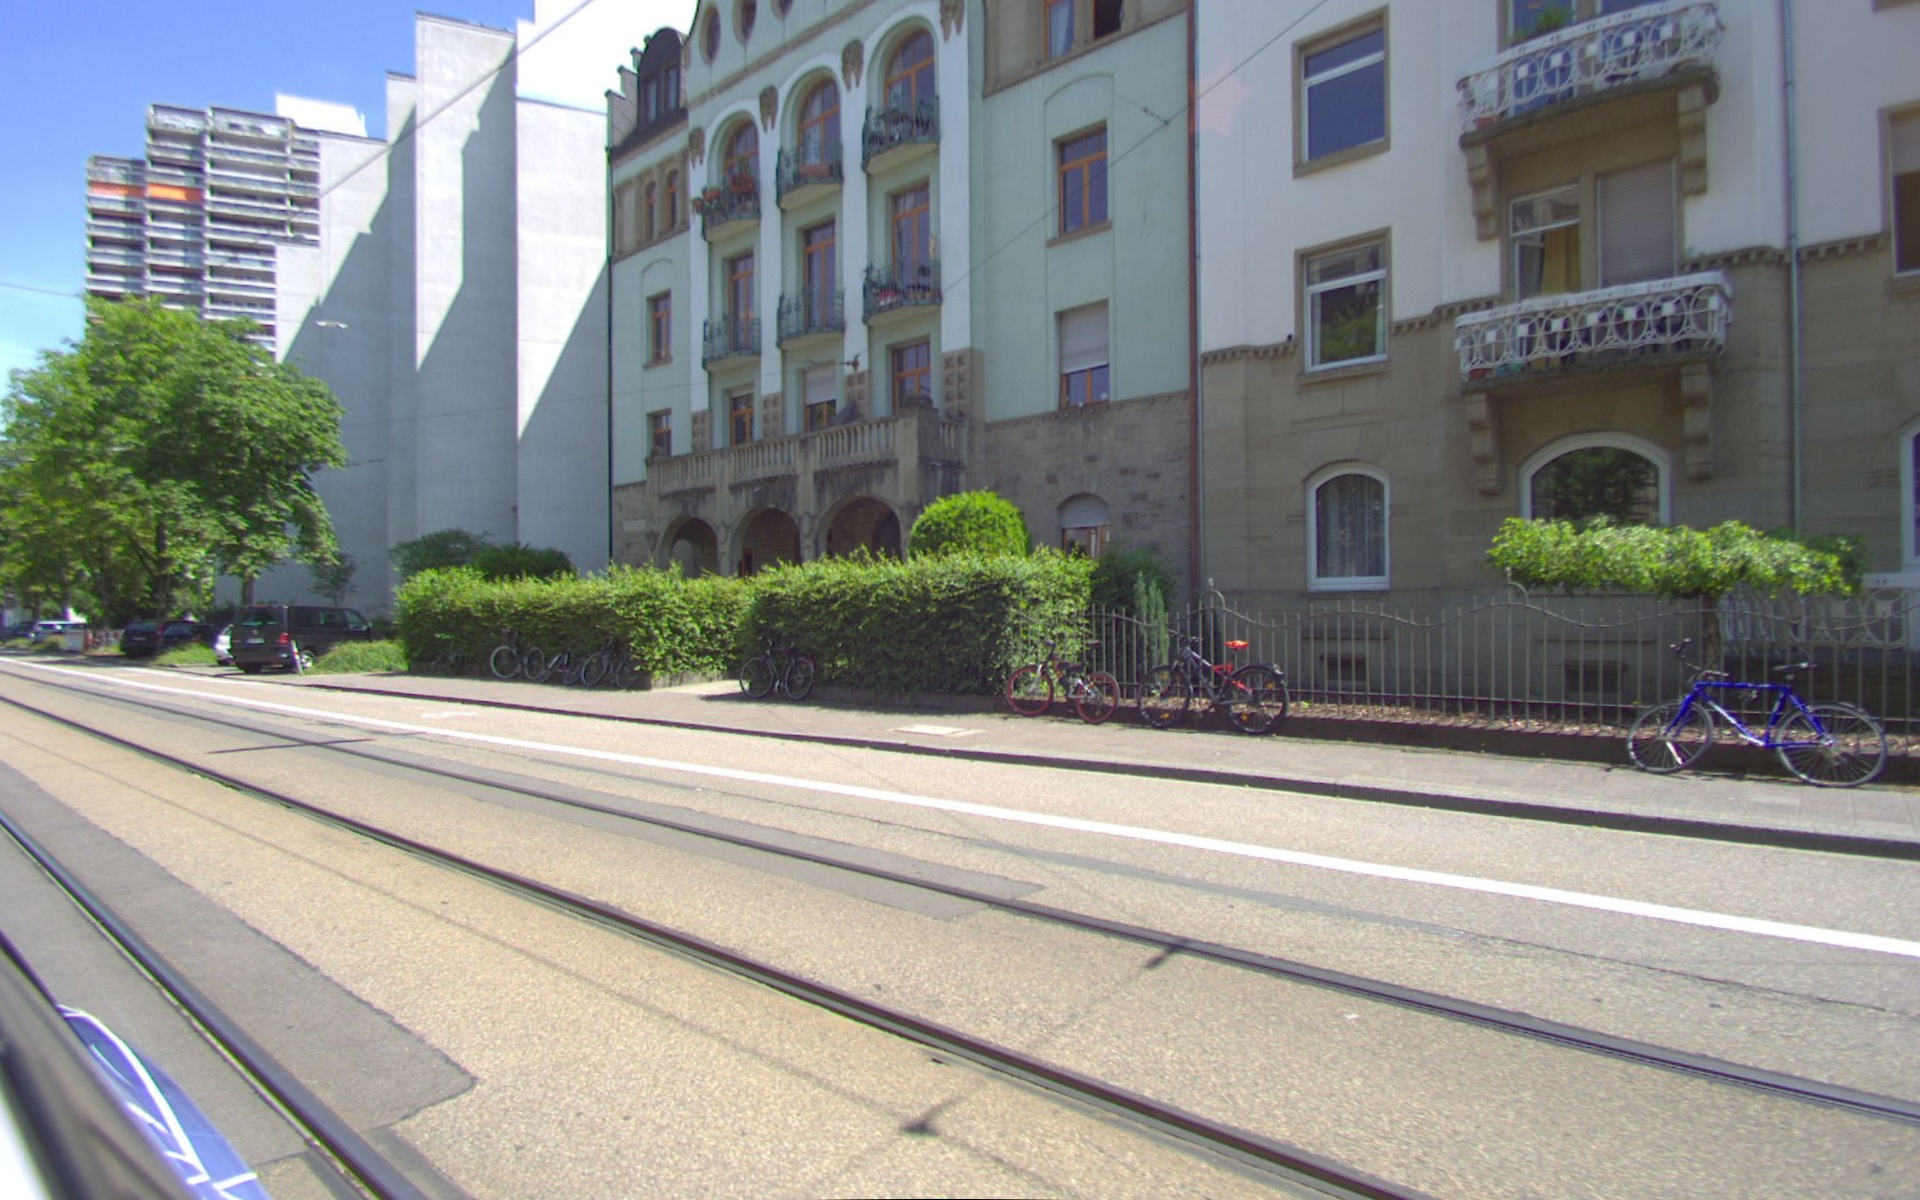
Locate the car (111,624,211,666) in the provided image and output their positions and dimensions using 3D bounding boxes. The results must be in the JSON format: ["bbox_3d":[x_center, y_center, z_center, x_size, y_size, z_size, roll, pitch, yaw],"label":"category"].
[{"bbox_3d":[-32.080,1.757,40.764,1.614,1.561,3.816,-1,-1,-11],"label":"car"}]

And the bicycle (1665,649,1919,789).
[{"bbox_3d":[6.591,0.874,7.707,1.953,0.955,0.457,-2,-1,40],"label":"bicycle"}]

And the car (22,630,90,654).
[{"bbox_3d":[-54.190,2.508,60.727,1.345,1.311,3.312,-1,-1,-4],"label":"car"}]

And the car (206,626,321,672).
[{"bbox_3d":[-24.052,1.643,35.119,1.713,1.437,3.896,-1,-1,-7],"label":"car"}]

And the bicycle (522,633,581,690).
[{"bbox_3d":[-8.310,1.234,20.553,1.727,1.076,0.336,-1,0,40],"label":"bicycle"}]

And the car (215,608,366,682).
[{"bbox_3d":[-19.640,1.264,29.915,1.887,1.984,3.907,-1,0,0],"label":"car"}]

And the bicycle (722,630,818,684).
[{"bbox_3d":[-3.911,1.161,21.018,0.374,1.003,2.200,-1,0,40],"label":"bicycle"}]

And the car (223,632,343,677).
[{"bbox_3d":[-21.793,1.732,32.720,1.501,1.249,3.562,-1,0,0],"label":"car"}]

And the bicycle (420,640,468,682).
[{"bbox_3d":[-12.307,1.434,24.107,1.727,0.948,0.336,-2,1,40],"label":"bicycle"}]

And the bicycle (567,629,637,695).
[{"bbox_3d":[-6.858,1.163,19.342,1.931,1.173,0.336,-1,0,40],"label":"bicycle"}]

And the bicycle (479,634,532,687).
[{"bbox_3d":[-9.842,1.284,21.892,1.727,1.076,0.336,-1,0,40],"label":"bicycle"}]

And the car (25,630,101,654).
[{"bbox_3d":[-51.775,2.402,58.479,1.473,1.276,3.487,-1,-1,-4],"label":"car"}]

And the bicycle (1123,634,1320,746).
[{"bbox_3d":[2.788,0.933,10.988,2.045,1.104,0.487,-2,-1,40],"label":"bicycle"}]

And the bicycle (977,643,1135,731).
[{"bbox_3d":[1.133,1.024,12.342,2.045,0.978,0.395,-2,-1,40],"label":"bicycle"}]

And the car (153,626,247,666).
[{"bbox_3d":[-29.443,1.758,39.309,1.469,1.410,3.286,-1,0,-7],"label":"car"}]

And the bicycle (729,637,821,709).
[{"bbox_3d":[-2.972,1.140,16.150,1.898,1.054,0.286,-1,0,40],"label":"bicycle"}]
